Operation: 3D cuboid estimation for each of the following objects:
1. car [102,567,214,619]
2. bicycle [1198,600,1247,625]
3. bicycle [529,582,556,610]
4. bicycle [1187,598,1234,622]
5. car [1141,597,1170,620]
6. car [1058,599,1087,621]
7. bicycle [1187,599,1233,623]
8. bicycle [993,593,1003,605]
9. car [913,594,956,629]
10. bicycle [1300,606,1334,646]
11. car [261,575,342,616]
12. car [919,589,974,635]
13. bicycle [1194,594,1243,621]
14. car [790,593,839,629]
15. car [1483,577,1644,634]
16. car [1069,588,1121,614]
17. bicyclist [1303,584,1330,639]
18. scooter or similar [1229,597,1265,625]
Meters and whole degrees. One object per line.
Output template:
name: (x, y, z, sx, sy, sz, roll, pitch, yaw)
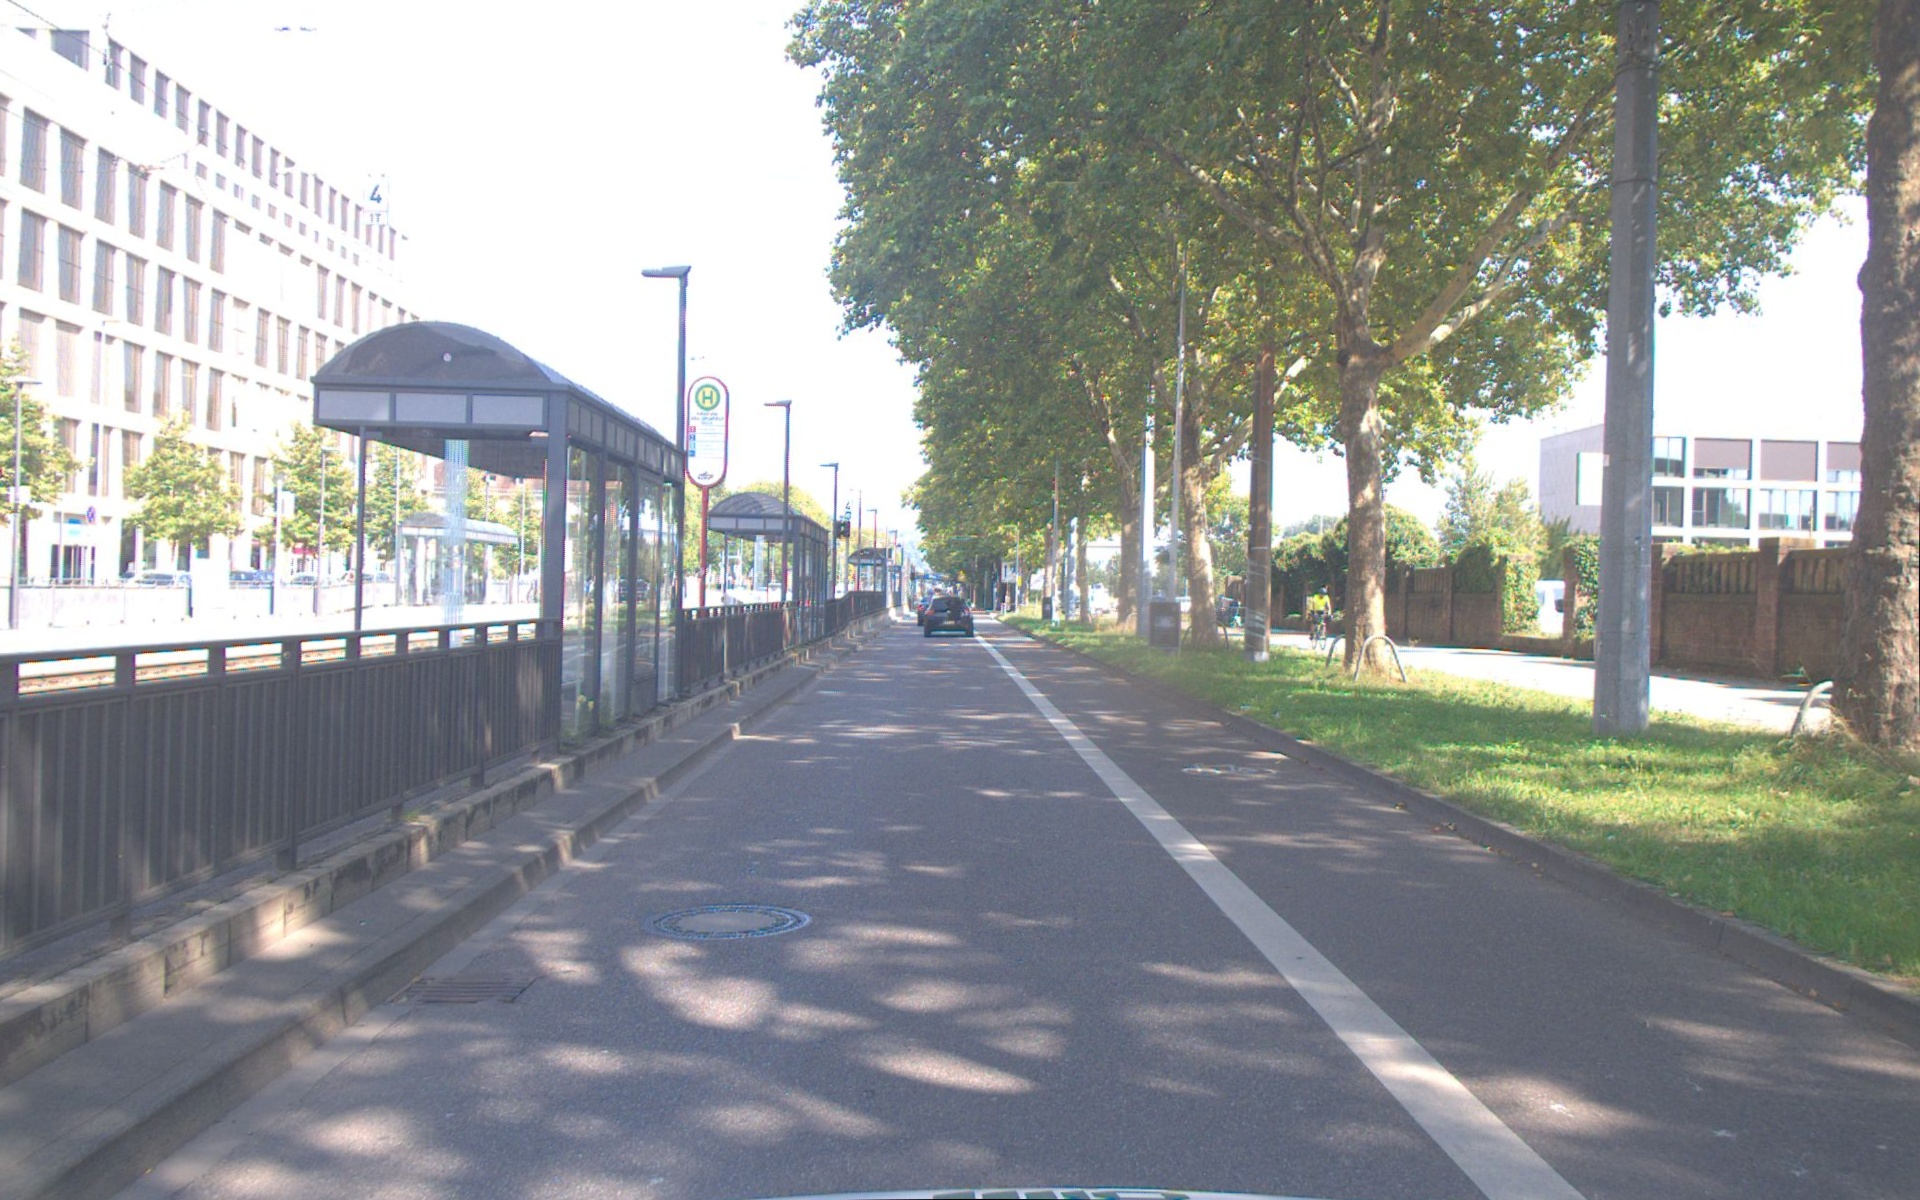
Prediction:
car: (-25.680, -0.218, 53.094, 1.728, 1.602, 4.130, 0, 0, -2)
bicycle: (12.189, 0.584, 76.721, 2.130, 1.095, 0.743, 1, 0, -3)
bicycle: (-18.050, -0.173, 71.469, 0.461, 1.167, 1.485, 1, 0, 14)
bicycle: (11.968, 0.461, 78.928, 2.128, 1.095, 0.743, -1, 0, 3)
car: (13.839, 0.598, 117.096, 1.575, 1.603, 3.796, 0, 0, -1)
car: (7.876, 0.676, 115.792, 1.692, 1.474, 4.550, 0, 0, -1)
bicycle: (12.051, 0.549, 79.745, 2.128, 1.095, 0.743, -2, 0, 3)
bicycle: (3.348, -0.059, 144.550, 0.598, 1.039, 2.400, 1, 0, -5)
car: (-1.236, 0.523, 78.575, 1.933, 1.564, 3.999, -2, 0, -2)
bicycle: (9.713, 0.694, 45.052, 0.537, 1.024, 1.713, 1, 0, -1)
car: (-26.317, -0.189, 66.249, 1.728, 1.602, 4.130, 0, 0, -2)
car: (-0.502, 0.421, 59.051, 1.869, 1.564, 3.999, -1, 0, -2)
bicycle: (12.706, 0.379, 81.256, 2.199, 1.299, 0.998, -1, -1, -2)
car: (-6.850, 0.505, 78.401, 1.953, 1.586, 4.000, -1, 0, 0)
car: (19.112, 0.163, 52.478, 4.431, 1.764, 1.908, 0, 0, -3)
car: (10.529, 0.062, 129.179, 4.018, 1.952, 1.848, -1, 0, 2)
bicyclist: (9.721, 0.313, 45.117, 0.537, 1.478, 0.842, 1, 0, -1)
scooter or similar: (12.554, 0.476, 72.352, 1.474, 1.212, 0.539, -1, 0, 3)
